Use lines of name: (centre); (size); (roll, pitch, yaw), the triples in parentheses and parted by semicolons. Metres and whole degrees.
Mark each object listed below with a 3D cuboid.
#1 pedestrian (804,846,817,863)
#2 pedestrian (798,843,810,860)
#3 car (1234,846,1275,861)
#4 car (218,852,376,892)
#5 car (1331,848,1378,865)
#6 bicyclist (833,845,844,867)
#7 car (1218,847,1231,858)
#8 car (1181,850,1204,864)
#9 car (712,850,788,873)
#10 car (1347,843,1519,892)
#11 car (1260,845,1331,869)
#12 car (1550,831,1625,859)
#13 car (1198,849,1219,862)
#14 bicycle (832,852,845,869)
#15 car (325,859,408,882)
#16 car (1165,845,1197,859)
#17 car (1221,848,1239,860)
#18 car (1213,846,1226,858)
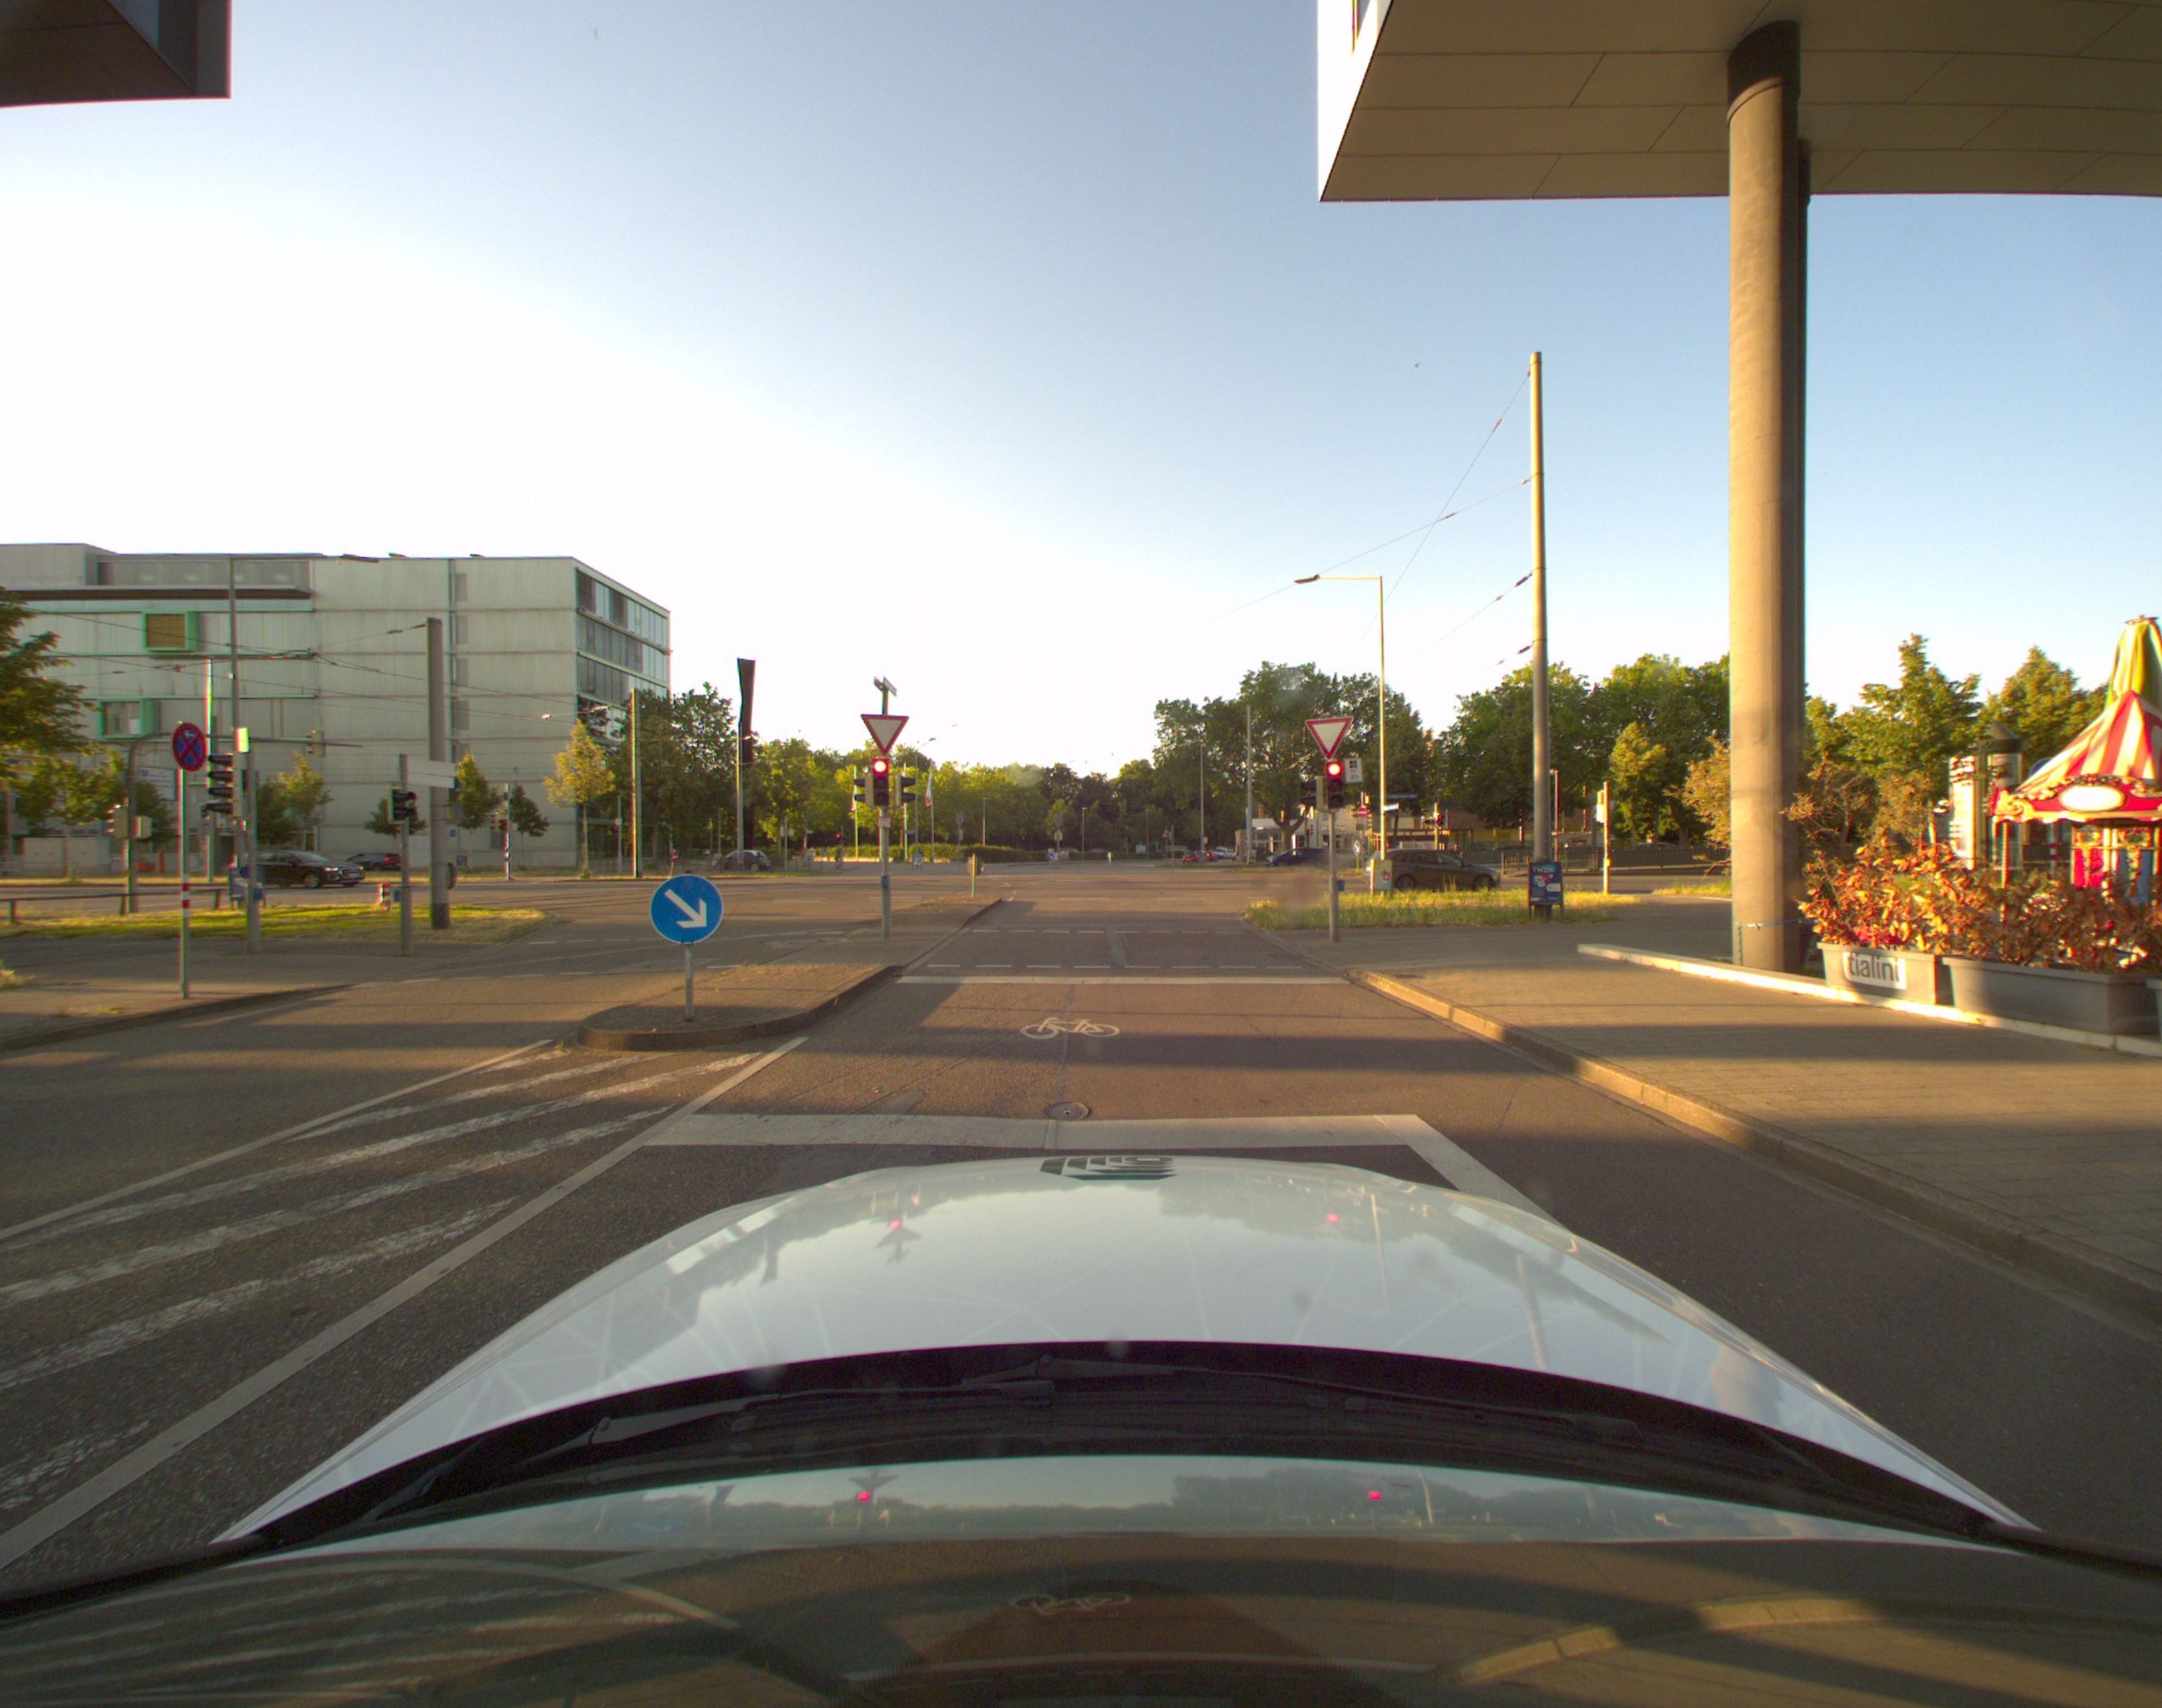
pedestrian: (-28.291, 0.087, 85.161); (0.852, 1.744, 0.835); (-1, 0, 31)
pedestrian: (-28.707, -0.232, 84.299); (0.852, 1.744, 0.835); (-1, 0, 35)
car: (18.914, 0.005, 88.902); (4.194, 1.552, 2.005); (-1, -1, 9)
car: (-32.513, 0.731, 33.893); (4.467, 1.557, 1.986); (-1, 0, -4)
car: (24.055, 0.234, 71.753); (3.715, 1.440, 1.669); (-1, -1, 11)
bicyclist: (-19.260, 0.136, 64.700); (0.754, 1.709, 0.913); (-1, 0, -23)
car: (23.920, -0.268, 135.739); (1.849, 1.794, 4.015); (-1, -1, 14)
car: (13.094, 0.369, 95.560); (1.978, 1.662, 4.018); (-1, -1, 17)
car: (-22.127, 0.514, 54.572); (4.321, 1.496, 1.802); (-1, -1, -3)
car: (11.811, 0.435, 27.546); (4.991, 1.511, 1.988); (-1, 0, 0)
car: (14.884, 0.232, 56.689); (4.454, 1.552, 2.001); (-1, -1, 3)
car: (47.876, -0.830, 77.065); (5.561, 2.551, 2.235); (-1, 0, 9)
car: (16.197, 0.206, 103.180); (1.978, 1.662, 4.018); (-1, -1, 17)
bicycle: (-19.277, 0.492, 64.707); (0.733, 1.341, 2.670); (-1, 0, -23)
car: (-50.277, 1.149, 57.357); (4.313, 1.496, 1.806); (-1, -1, 3)
car: (15.403, -0.343, 125.730); (4.753, 2.006, 2.002); (-1, -1, 3)
car: (21.076, -0.011, 115.301); (1.978, 1.662, 4.018); (-1, -1, 17)
car: (22.257, -0.261, 130.881); (1.850, 1.794, 4.013); (-1, -1, 12)
